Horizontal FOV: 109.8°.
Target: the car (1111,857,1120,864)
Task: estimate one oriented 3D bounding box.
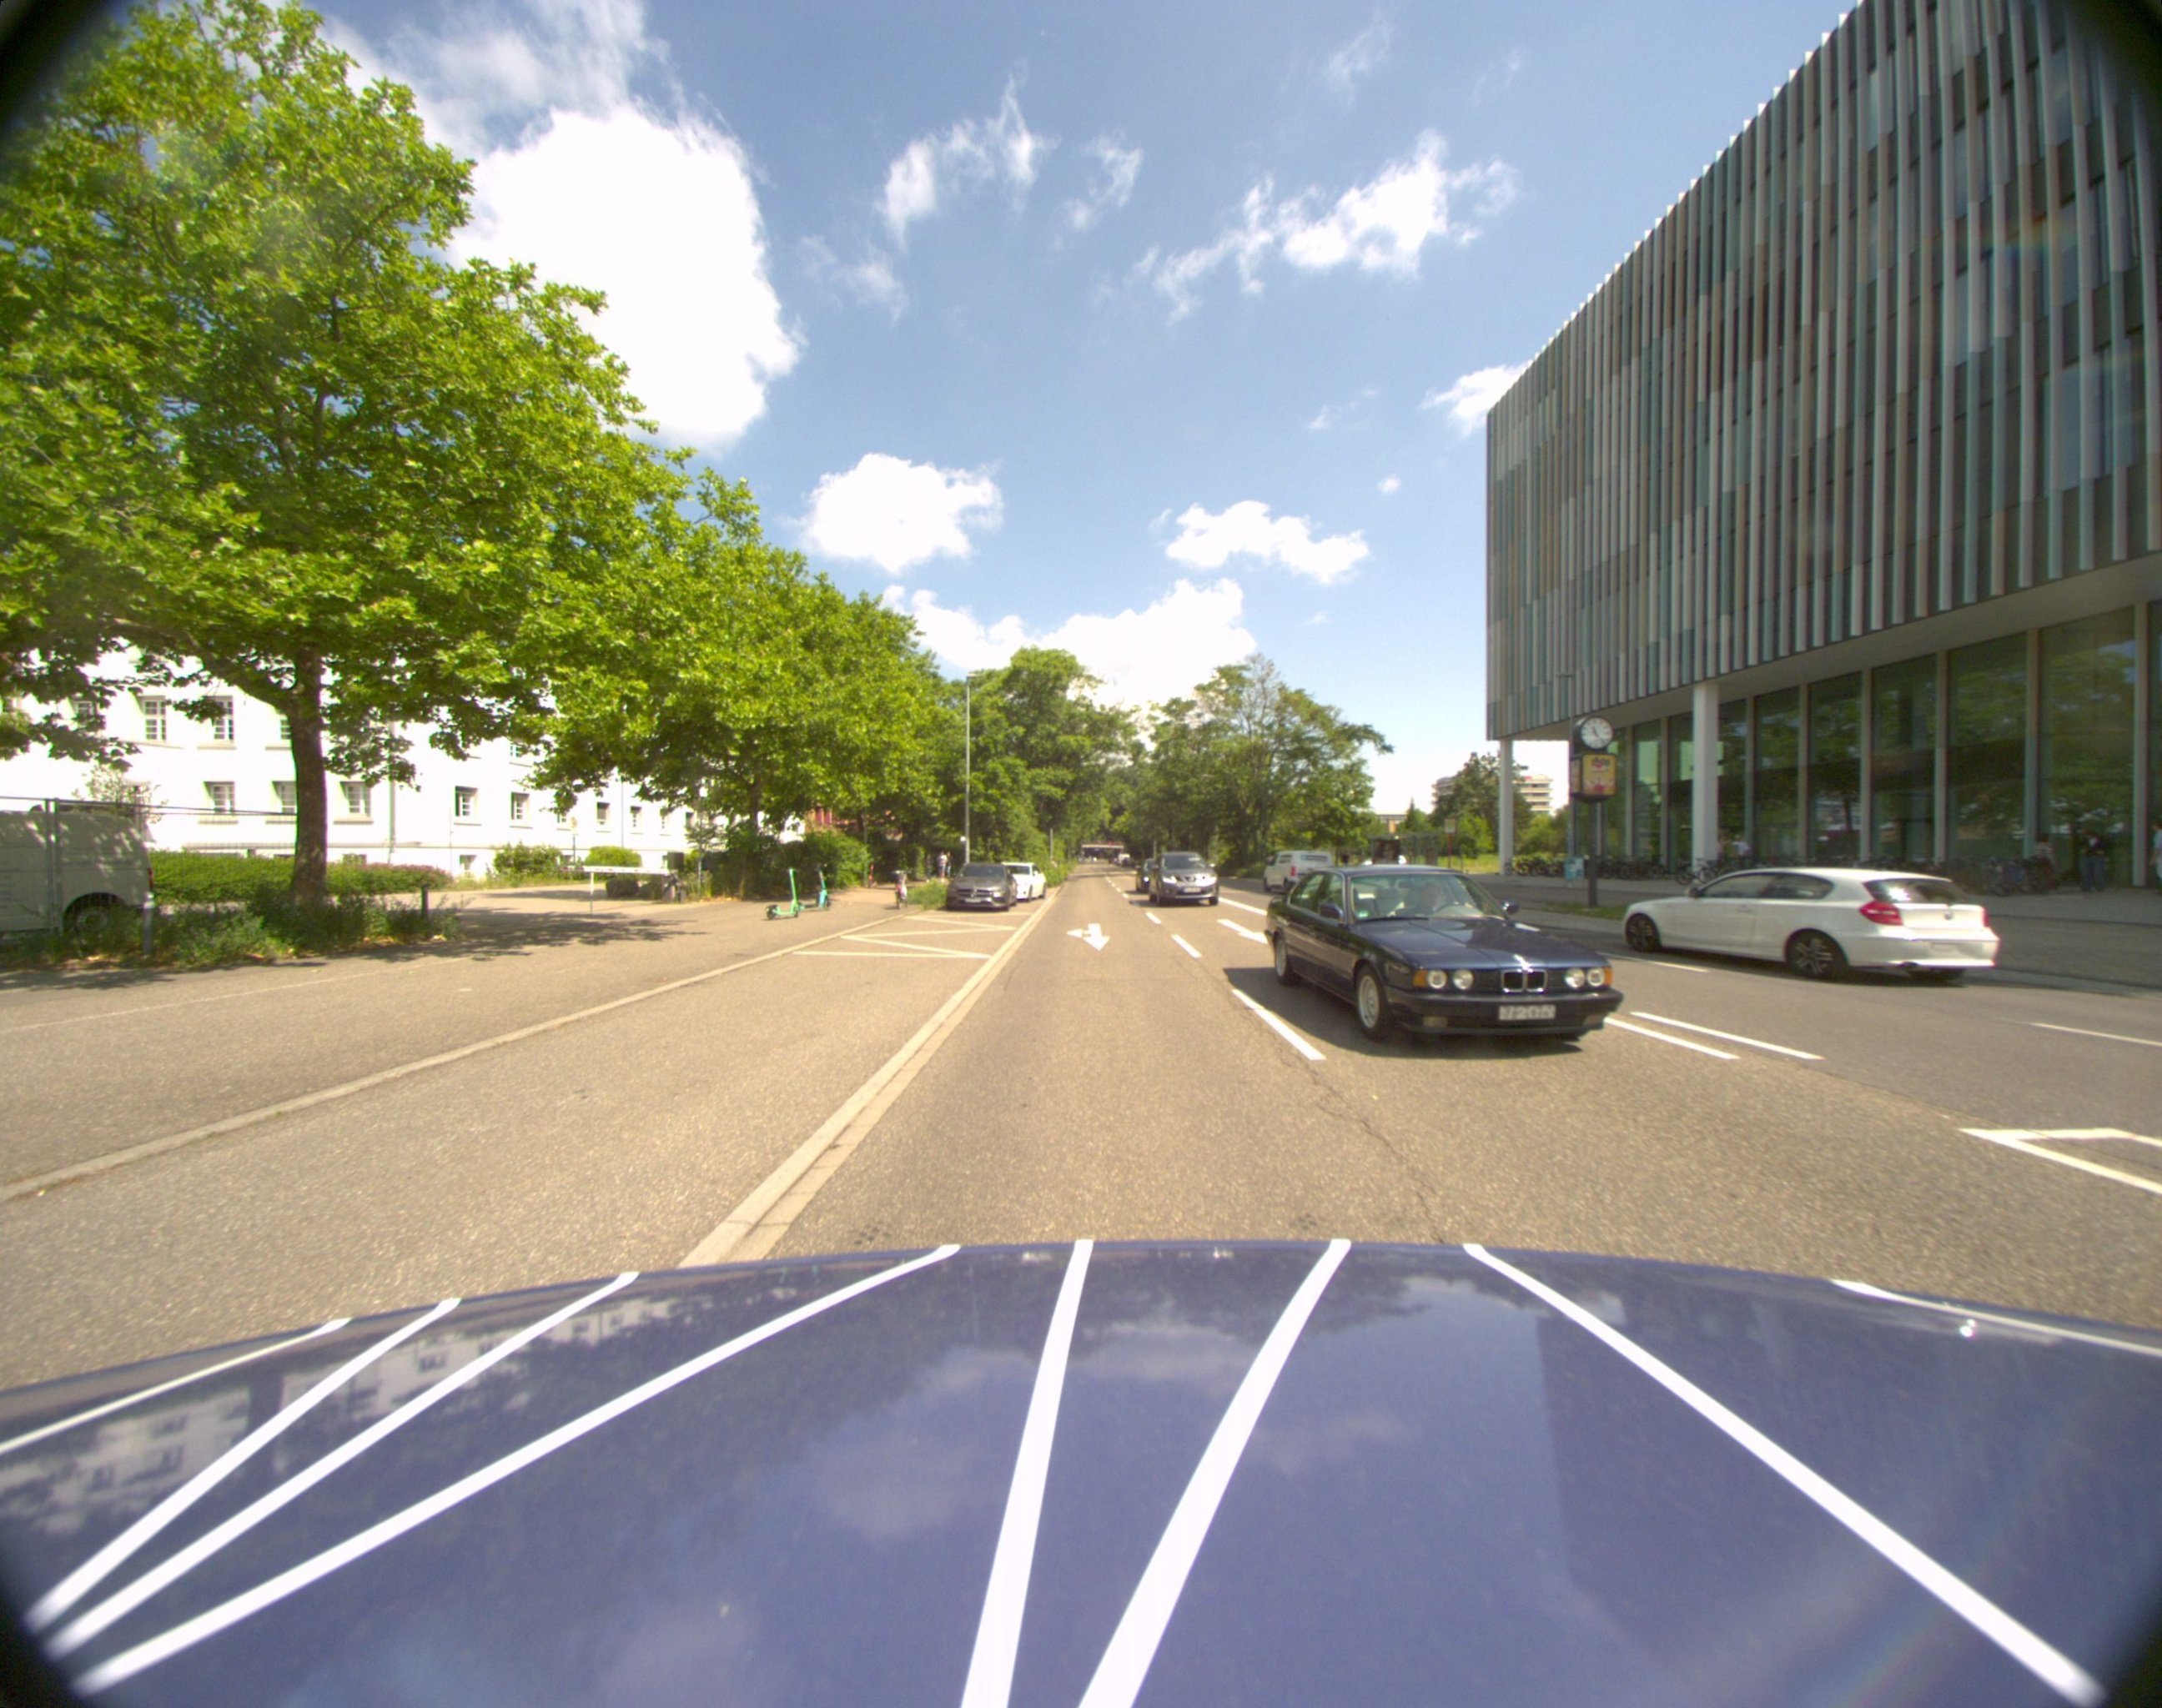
[{"bbox_3d":[7.529,1.363,166.342,1.756,1.502,3.828,-2,0,2],"label":"car"}]

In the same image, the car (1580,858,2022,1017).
[{"bbox_3d":[9.801,0.967,11.044,1.729,1.801,4.730,1,0,-4],"label":"car"}]

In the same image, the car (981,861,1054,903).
[{"bbox_3d":[-2.334,1.015,29.225,1.741,1.442,4.945,1,-1,7],"label":"car"}]

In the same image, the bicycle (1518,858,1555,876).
[{"bbox_3d":[25.264,0.726,42.134,1.784,0.950,0.433,-2,1,0],"label":"bicycle"}]

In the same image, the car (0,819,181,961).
[{"bbox_3d":[-15.088,0.485,9.485,1.903,1.854,4.940,-1,0,-2],"label":"car"}]

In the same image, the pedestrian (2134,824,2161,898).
[{"bbox_3d":[27.034,0.164,19.042,0.562,1.831,0.554,-1,1,-7],"label":"pedestrian"}]

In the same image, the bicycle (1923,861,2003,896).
[{"bbox_3d":[25.350,0.711,21.854,1.543,0.950,0.374,-2,1,15],"label":"bicycle"}]

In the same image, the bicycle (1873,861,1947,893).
[{"bbox_3d":[25.135,0.698,23.056,1.543,0.950,0.374,-2,1,15],"label":"bicycle"}]

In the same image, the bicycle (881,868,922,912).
[{"bbox_3d":[-5.156,1.020,21.970,0.639,1.183,2.119,1,0,0],"label":"bicycle"}]

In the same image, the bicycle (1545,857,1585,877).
[{"bbox_3d":[25.333,0.681,39.785,1.784,0.950,0.433,-2,1,0],"label":"bicycle"}]

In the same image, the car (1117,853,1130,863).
[{"bbox_3d":[6.966,0.593,123.467,1.897,1.502,3.829,-2,0,6],"label":"car"}]

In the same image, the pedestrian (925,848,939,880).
[{"bbox_3d":[-8.452,0.578,43.039,0.684,1.770,0.790,-2,1,-12],"label":"pedestrian"}]

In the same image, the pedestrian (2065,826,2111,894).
[{"bbox_3d":[27.362,0.160,20.654,0.562,1.831,0.554,-1,1,-7],"label":"pedestrian"}]

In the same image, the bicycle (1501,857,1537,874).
[{"bbox_3d":[25.300,0.675,43.889,1.784,0.950,0.433,-2,1,0],"label":"bicycle"}]

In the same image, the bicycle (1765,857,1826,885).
[{"bbox_3d":[25.175,0.599,26.790,1.543,0.950,0.374,-2,1,15],"label":"bicycle"}]

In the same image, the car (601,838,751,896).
[{"bbox_3d":[-13.786,0.414,26.044,3.998,1.772,1.999,-2,1,-3],"label":"car"}]

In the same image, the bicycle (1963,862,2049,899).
[{"bbox_3d":[25.095,0.714,20.622,1.543,0.950,0.374,-2,1,15],"label":"bicycle"}]

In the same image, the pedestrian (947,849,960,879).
[{"bbox_3d":[-7.720,0.610,46.012,0.684,1.770,0.790,-2,1,-7],"label":"pedestrian"}]

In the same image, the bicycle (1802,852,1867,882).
[{"bbox_3d":[25.011,0.434,25.229,1.543,0.950,0.374,-2,1,15],"label":"bicycle"}]

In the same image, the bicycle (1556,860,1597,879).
[{"bbox_3d":[25.187,0.788,38.648,1.784,0.950,0.433,-2,1,0],"label":"bicycle"}]

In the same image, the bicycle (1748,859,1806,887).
[{"bbox_3d":[25.118,0.679,27.442,1.543,0.950,0.374,-2,1,15],"label":"bicycle"}]

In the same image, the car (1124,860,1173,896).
[{"bbox_3d":[2.965,0.981,32.767,1.828,1.407,4.194,-1,0,9],"label":"car"}]

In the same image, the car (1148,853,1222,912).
[{"bbox_3d":[3.202,0.828,24.295,1.824,1.669,4.478,-2,0,2],"label":"car"}]

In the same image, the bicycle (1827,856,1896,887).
[{"bbox_3d":[24.908,0.570,24.272,1.543,0.950,0.374,-2,1,15],"label":"bicycle"}]

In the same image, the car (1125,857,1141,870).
[{"bbox_3d":[7.012,1.261,101.944,1.897,1.502,3.829,-2,0,6],"label":"car"}]

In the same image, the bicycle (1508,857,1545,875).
[{"bbox_3d":[25.315,0.693,43.188,1.784,0.950,0.433,-2,1,0],"label":"bicycle"}]

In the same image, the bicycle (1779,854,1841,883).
[{"bbox_3d":[25.146,0.505,26.221,1.543,0.950,0.374,-2,1,15],"label":"bicycle"}]

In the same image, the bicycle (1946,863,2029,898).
[{"bbox_3d":[25.249,0.742,21.172,1.543,0.950,0.374,-2,1,15],"label":"bicycle"}]

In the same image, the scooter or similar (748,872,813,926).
[{"bbox_3d":[-6.797,0.992,17.276,0.529,1.162,1.577,1,0,14],"label":"scooter or similar"}]

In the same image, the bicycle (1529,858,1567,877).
[{"bbox_3d":[25.297,0.717,41.160,1.784,0.950,0.433,-2,1,0],"label":"bicycle"}]

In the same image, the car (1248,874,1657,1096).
[{"bbox_3d":[3.060,0.957,7.510,1.696,1.378,4.613,-1,0,-1],"label":"car"}]

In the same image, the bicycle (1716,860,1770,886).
[{"bbox_3d":[25.290,0.736,29.054,1.543,0.950,0.374,-2,1,15],"label":"bicycle"}]

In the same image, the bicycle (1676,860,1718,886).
[{"bbox_3d":[24.247,0.755,29.897,1.547,0.950,0.373,-2,1,-11],"label":"bicycle"}]

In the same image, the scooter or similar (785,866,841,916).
[{"bbox_3d":[-6.917,0.936,19.648,0.528,1.239,1.292,1,0,35],"label":"scooter or similar"}]

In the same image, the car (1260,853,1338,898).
[{"bbox_3d":[9.362,0.887,33.023,1.903,1.800,4.731,1,0,-2],"label":"car"}]

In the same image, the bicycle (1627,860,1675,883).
[{"bbox_3d":[25.317,0.762,33.766,1.784,0.950,0.433,-2,1,0],"label":"bicycle"}]

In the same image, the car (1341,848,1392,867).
[{"bbox_3d":[25.243,0.306,67.324,3.823,1.502,1.900,-2,1,6],"label":"car"}]

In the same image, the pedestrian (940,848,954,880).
[{"bbox_3d":[-7.594,0.580,43.123,0.684,1.770,0.790,-2,1,-12],"label":"pedestrian"}]

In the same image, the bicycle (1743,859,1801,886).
[{"bbox_3d":[25.299,0.676,27.830,1.543,0.950,0.374,-2,1,15],"label":"bicycle"}]

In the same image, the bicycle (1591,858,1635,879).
[{"bbox_3d":[25.360,0.675,36.222,1.784,0.950,0.433,-2,1,0],"label":"bicycle"}]

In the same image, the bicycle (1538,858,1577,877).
[{"bbox_3d":[25.324,0.719,40.348,1.784,0.950,0.433,-2,1,0],"label":"bicycle"}]

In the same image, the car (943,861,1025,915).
[{"bbox_3d":[-2.912,0.991,23.961,1.861,1.470,4.942,2,-1,1],"label":"car"}]

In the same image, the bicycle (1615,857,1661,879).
[{"bbox_3d":[25.666,0.658,34.989,1.784,0.950,0.433,-2,1,0],"label":"bicycle"}]

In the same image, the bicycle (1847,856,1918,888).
[{"bbox_3d":[24.886,0.562,23.619,1.543,0.950,0.374,-2,1,15],"label":"bicycle"}]

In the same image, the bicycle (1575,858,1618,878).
[{"bbox_3d":[25.277,0.681,37.256,1.784,0.950,0.433,-2,1,0],"label":"bicycle"}]
